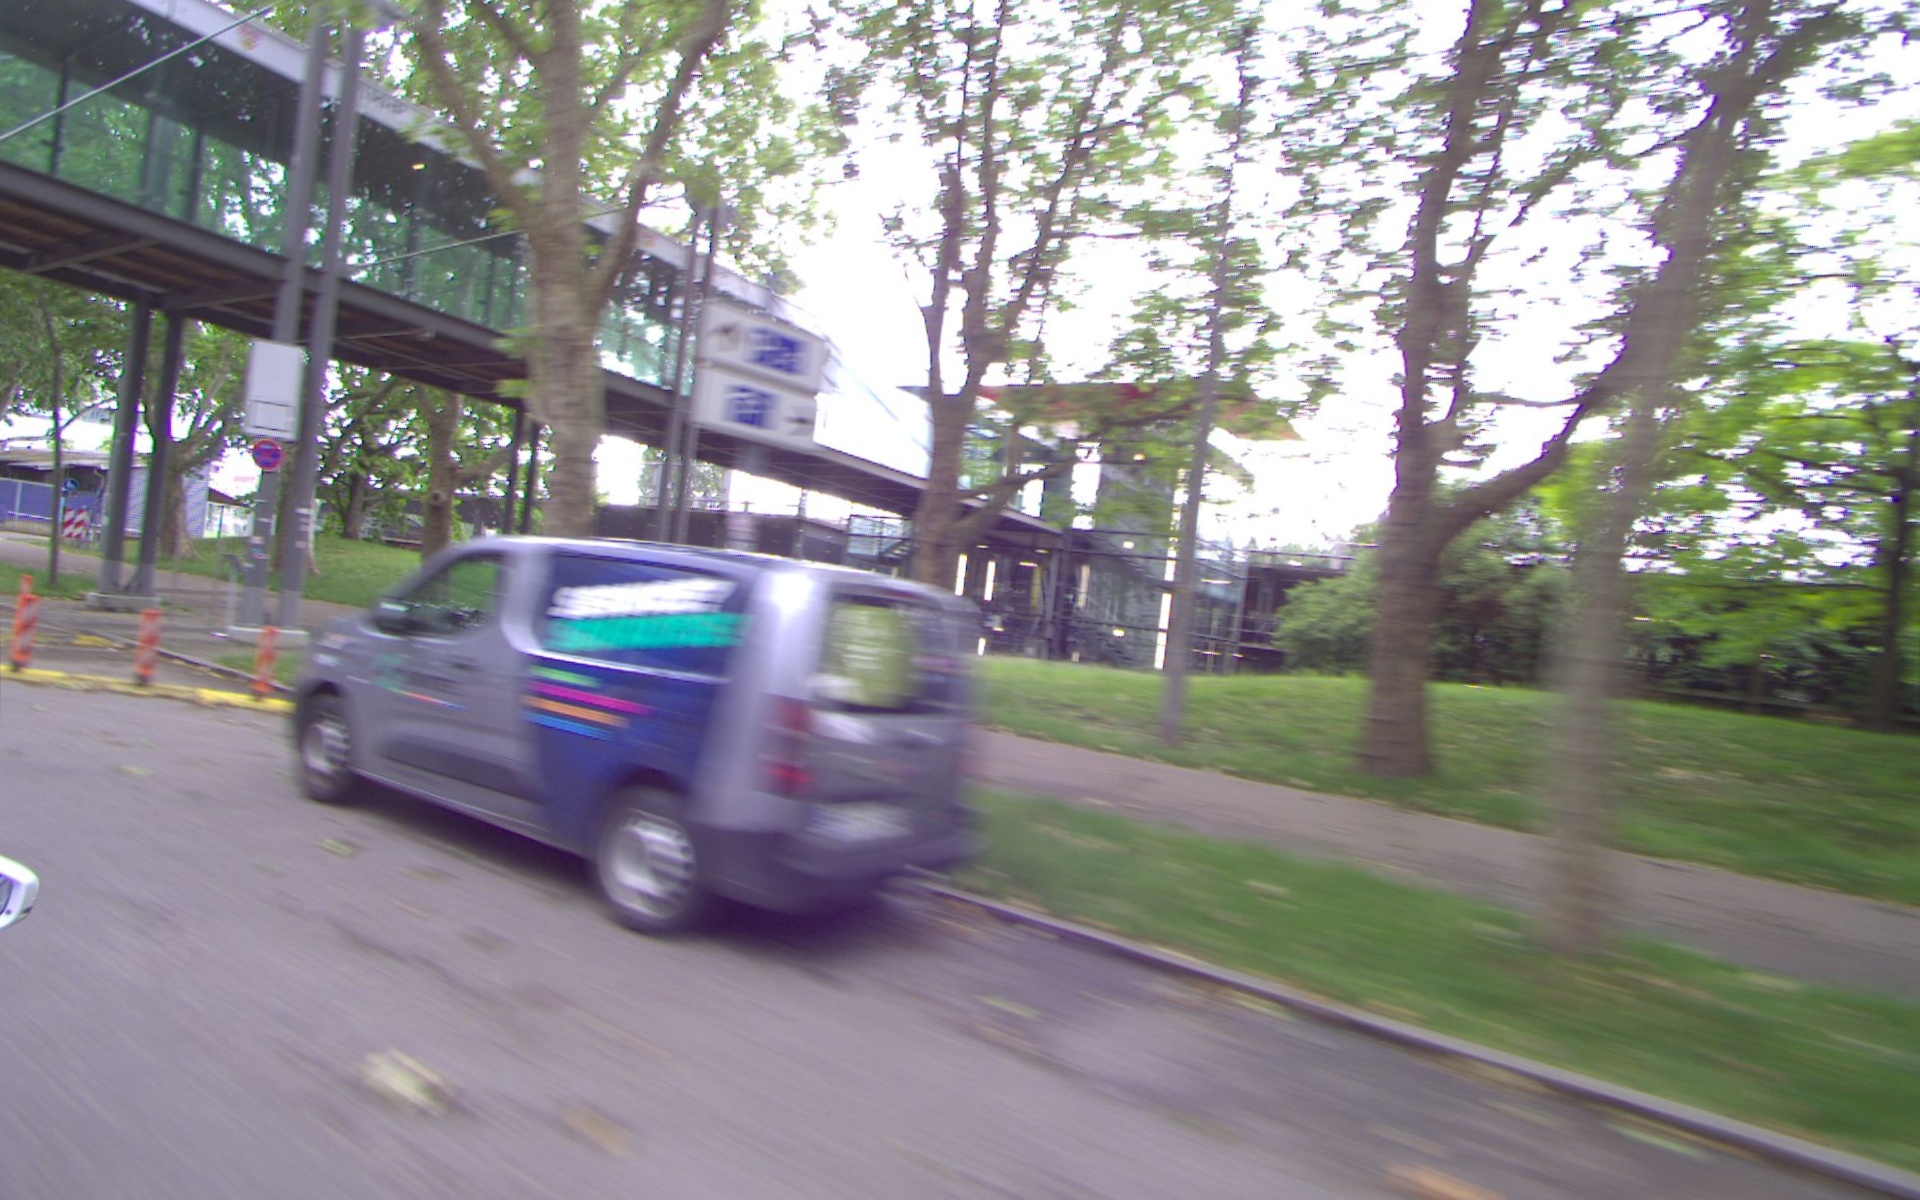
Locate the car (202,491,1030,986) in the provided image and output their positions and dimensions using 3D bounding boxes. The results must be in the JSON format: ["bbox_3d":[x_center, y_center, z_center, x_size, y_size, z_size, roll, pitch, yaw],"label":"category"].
[{"bbox_3d":[-2.350,0.503,6.181,5.125,1.803,1.851,6,-2,32],"label":"car"}]
